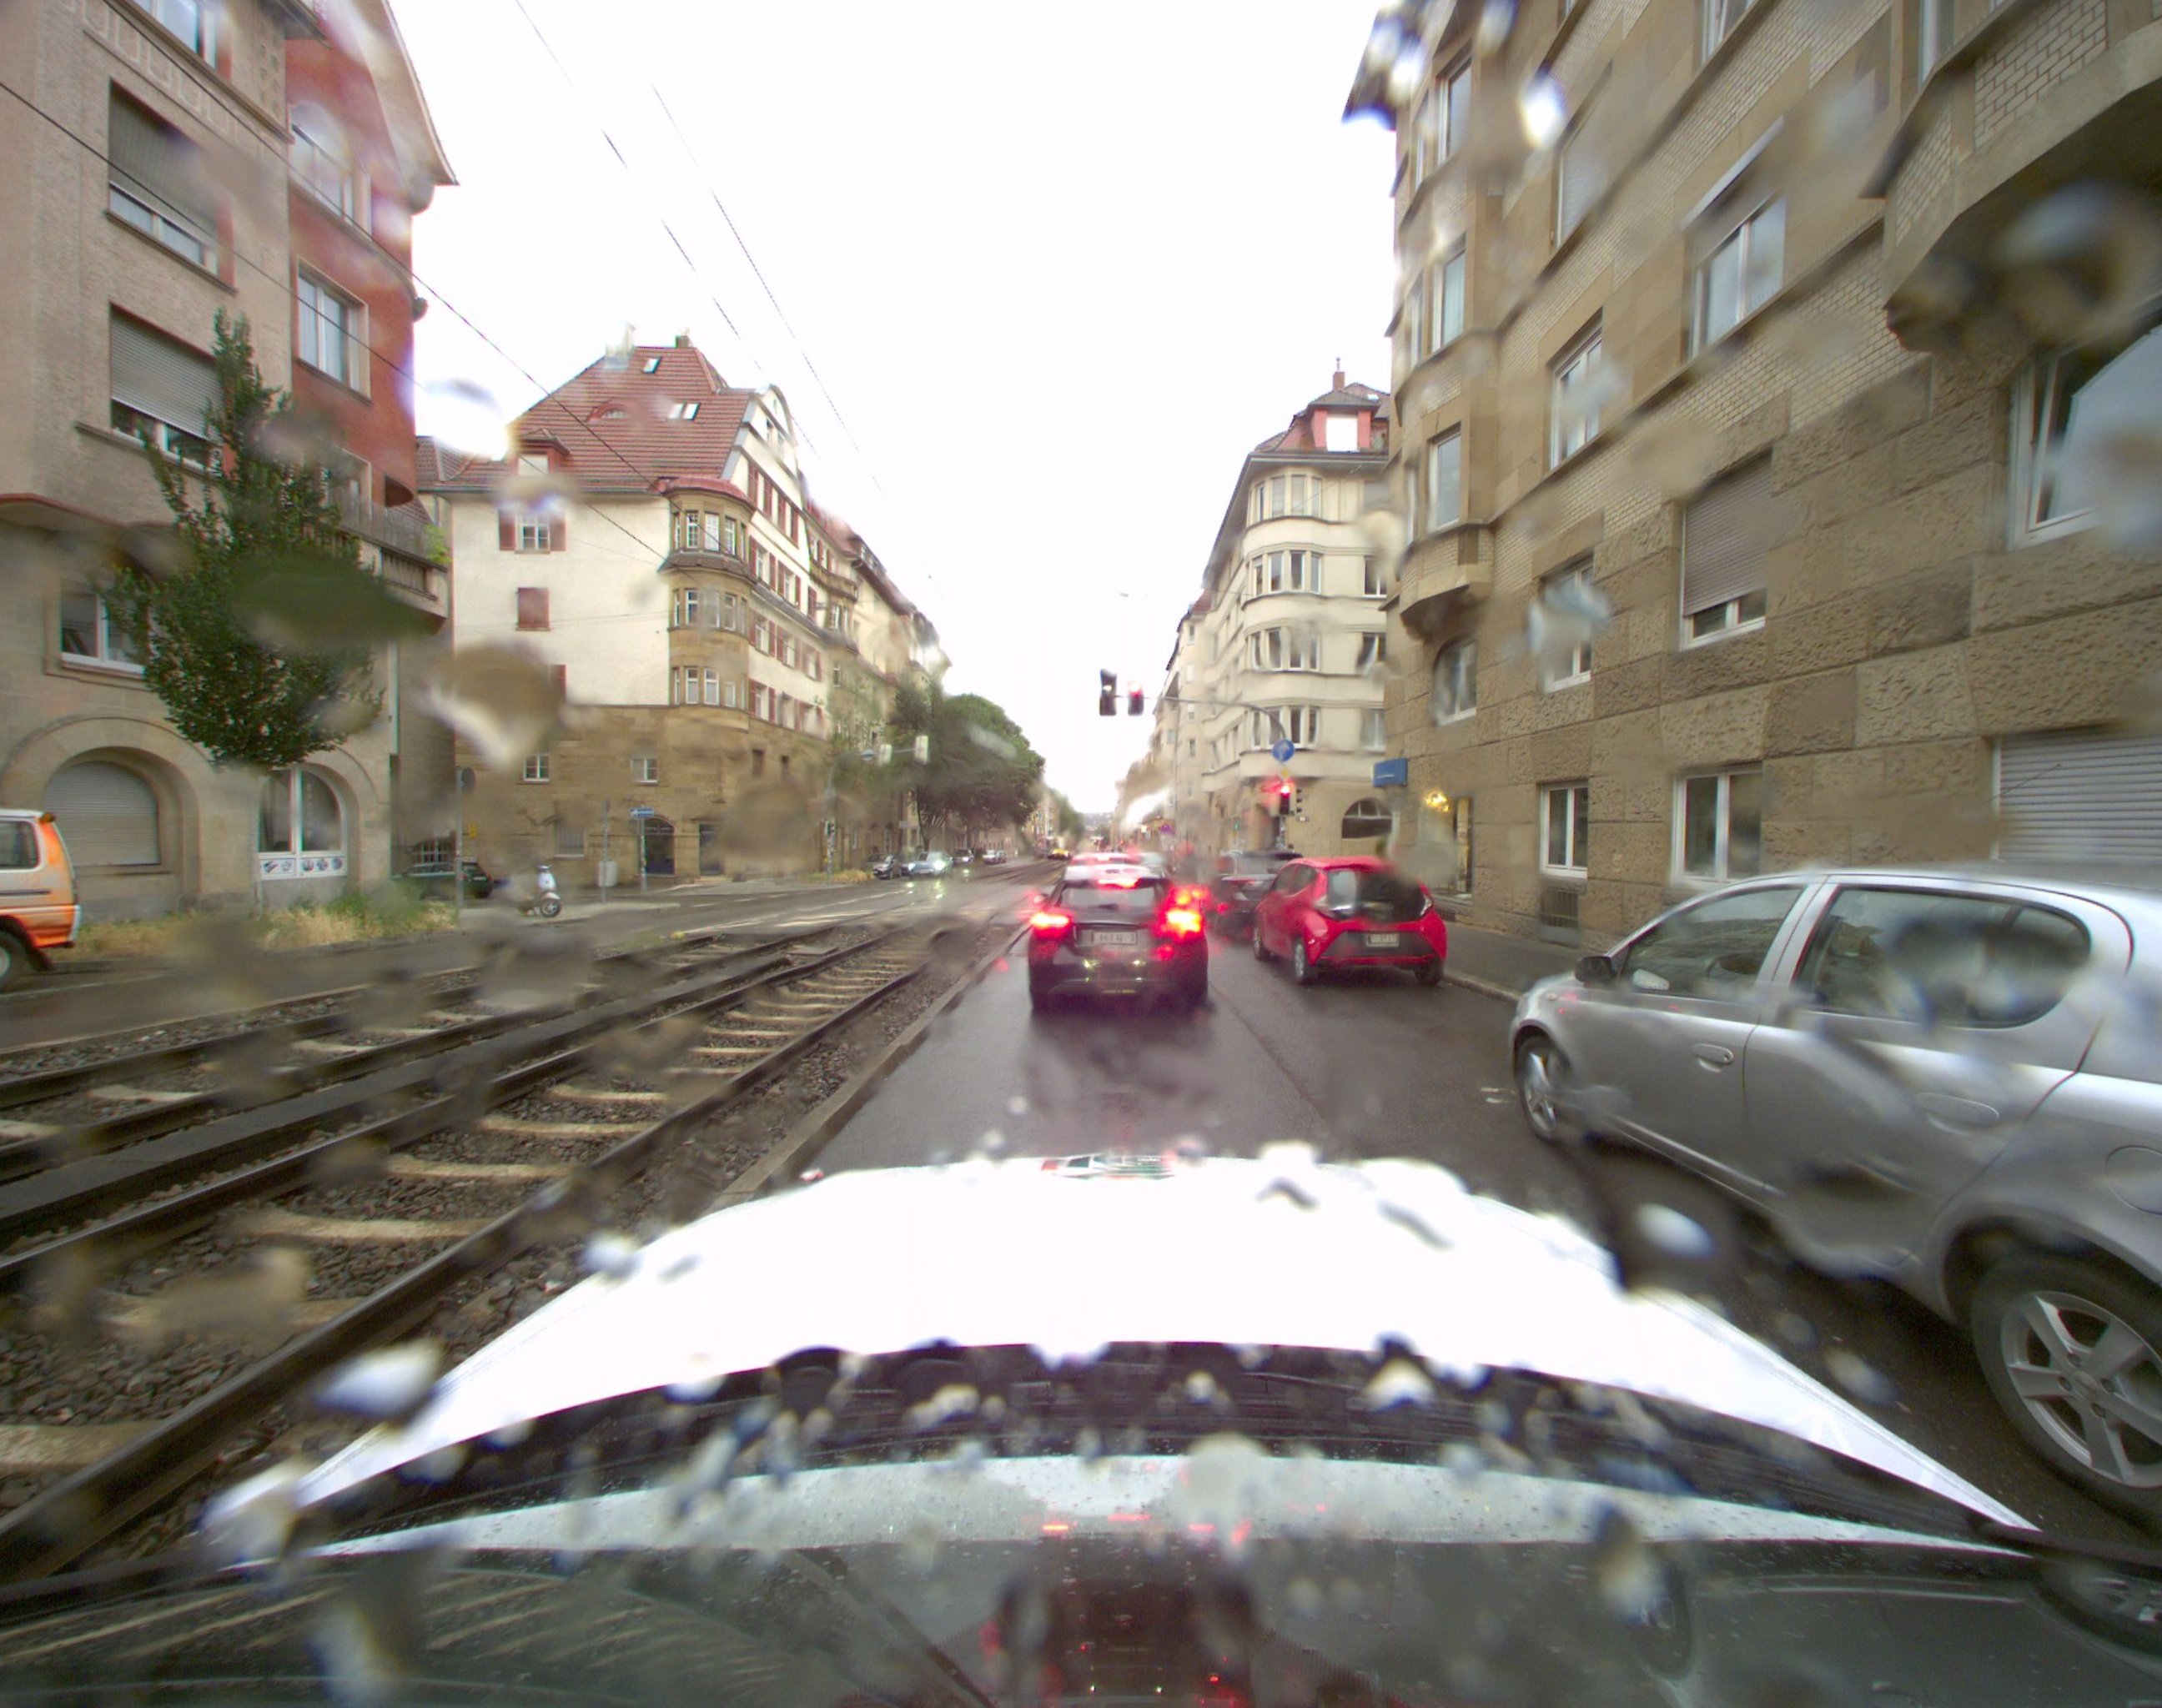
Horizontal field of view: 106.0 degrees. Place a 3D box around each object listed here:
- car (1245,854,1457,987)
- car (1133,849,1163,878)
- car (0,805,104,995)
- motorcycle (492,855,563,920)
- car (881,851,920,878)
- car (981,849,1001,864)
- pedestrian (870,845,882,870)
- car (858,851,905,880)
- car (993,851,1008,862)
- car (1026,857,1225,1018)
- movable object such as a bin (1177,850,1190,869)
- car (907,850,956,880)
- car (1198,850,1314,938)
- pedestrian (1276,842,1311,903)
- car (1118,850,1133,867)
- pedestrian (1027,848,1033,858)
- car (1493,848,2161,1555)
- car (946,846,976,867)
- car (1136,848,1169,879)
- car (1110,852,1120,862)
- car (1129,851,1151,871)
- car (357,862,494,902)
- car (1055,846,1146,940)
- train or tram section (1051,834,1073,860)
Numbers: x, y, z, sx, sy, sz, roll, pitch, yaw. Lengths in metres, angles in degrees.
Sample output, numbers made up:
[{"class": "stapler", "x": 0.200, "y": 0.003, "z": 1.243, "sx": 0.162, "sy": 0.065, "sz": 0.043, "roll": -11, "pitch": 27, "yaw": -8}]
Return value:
[{"class": "car", "x": 3.281, "y": 0.726, "z": 10.541, "sx": 1.637, "sy": 1.448, "sz": 3.298, "roll": 0, "pitch": 0, "yaw": -1}, {"class": "car", "x": 3.850, "y": 0.519, "z": 47.151, "sx": 1.539, "sy": 1.590, "sz": 3.549, "roll": 0, "pitch": 0, "yaw": 2}, {"class": "car", "x": -12.119, "y": 0.470, "z": 7.187, "sx": 1.725, "sy": 1.975, "sz": 4.341, "roll": 0, "pitch": -1, "yaw": 0}, {"class": "motorcycle", "x": -12.062, "y": 0.713, "z": 17.743, "sx": 1.577, "sy": 1.365, "sz": 0.628, "roll": -1, "pitch": -1, "yaw": 28}, {"class": "car", "x": -11.278, "y": 0.649, "z": 51.129, "sx": 1.713, "sy": 1.611, "sz": 3.914, "roll": 0, "pitch": -1, "yaw": -3}, {"class": "car", "x": -9.855, "y": 0.312, "z": 89.574, "sx": 1.583, "sy": 1.581, "sz": 3.920, "roll": 0, "pitch": -1, "yaw": 2}, {"class": "pedestrian", "x": -14.089, "y": 0.228, "z": 55.984, "sx": 0.630, "sy": 1.672, "sz": 0.702, "roll": 0, "pitch": -1, "yaw": -4}, {"class": "car", "x": -11.248, "y": 0.643, "z": 46.094, "sx": 1.747, "sy": 1.552, "sz": 4.033, "roll": 0, "pitch": -1, "yaw": -2}, {"class": "car", "x": -9.784, "y": 0.299, "z": 98.990, "sx": 1.443, "sy": 1.331, "sz": 3.271, "roll": 0, "pitch": -1, "yaw": 0}, {"class": "car", "x": 0.470, "y": 0.775, "z": 9.539, "sx": 1.822, "sy": 1.458, "sz": 4.105, "roll": 0, "pitch": 0, "yaw": 2}, {"class": "movable object such as a bin", "x": 7.482, "y": 0.414, "z": 59.531, "sx": 0.873, "sy": 1.389, "sz": 0.984, "roll": -1, "pitch": -1, "yaw": 5}, {"class": "car", "x": -8.263, "y": 0.582, "z": 45.407, "sx": 1.891, "sy": 1.588, "sz": 3.974, "roll": 0, "pitch": -1, "yaw": 2}, {"class": "car", "x": 3.247, "y": 0.681, "z": 15.785, "sx": 1.539, "sy": 1.486, "sz": 3.831, "roll": 0, "pitch": 0, "yaw": 2}, {"class": "pedestrian", "x": 6.240, "y": 0.548, "z": 23.960, "sx": 0.739, "sy": 1.748, "sz": 1.111, "roll": 0, "pitch": -1, "yaw": 2}, {"class": "car", "x": 4.036, "y": 0.398, "z": 73.649, "sx": 1.289, "sy": 1.442, "sz": 2.930, "roll": 0, "pitch": 0, "yaw": 2}, {"class": "pedestrian", "x": -11.092, "y": -0.214, "z": 176.334, "sx": 1.049, "sy": 1.957, "sz": 1.043, "roll": 1, "pitch": 0, "yaw": 3}, {"class": "car", "x": 3.149, "y": 0.733, "z": 3.075, "sx": 1.608, "sy": 1.467, "sz": 3.314, "roll": -2, "pitch": 0, "yaw": 3}, {"class": "car", "x": -10.586, "y": 0.218, "z": 72.116, "sx": 1.868, "sy": 1.737, "sz": 3.920, "roll": 0, "pitch": -1, "yaw": 2}, {"class": "car", "x": 3.708, "y": 0.475, "z": 42.677, "sx": 1.539, "sy": 1.590, "sz": 3.549, "roll": 0, "pitch": 0, "yaw": 2}, {"class": "car", "x": 5.276, "y": 0.466, "z": 127.840, "sx": 1.539, "sy": 1.636, "sz": 3.687, "roll": 0, "pitch": 0, "yaw": 1}, {"class": "car", "x": 4.424, "y": 0.522, "z": 61.558, "sx": 1.539, "sy": 1.486, "sz": 3.549, "roll": 0, "pitch": 0, "yaw": 2}, {"class": "car", "x": -24.378, "y": 1.022, "z": 30.387, "sx": 3.633, "sy": 1.404, "sz": 1.699, "roll": 0, "pitch": -1, "yaw": -3}, {"class": "car", "x": 0.397, "y": 0.694, "z": 15.935, "sx": 1.559, "sy": 1.609, "sz": 3.815, "roll": 0, "pitch": -1, "yaw": 2}, {"class": "train or tram section", "x": -2.937, "y": -1.060, "z": 129.036, "sx": 2.772, "sy": 3.861, "sz": 10.433, "roll": 0, "pitch": -1, "yaw": 2}]
